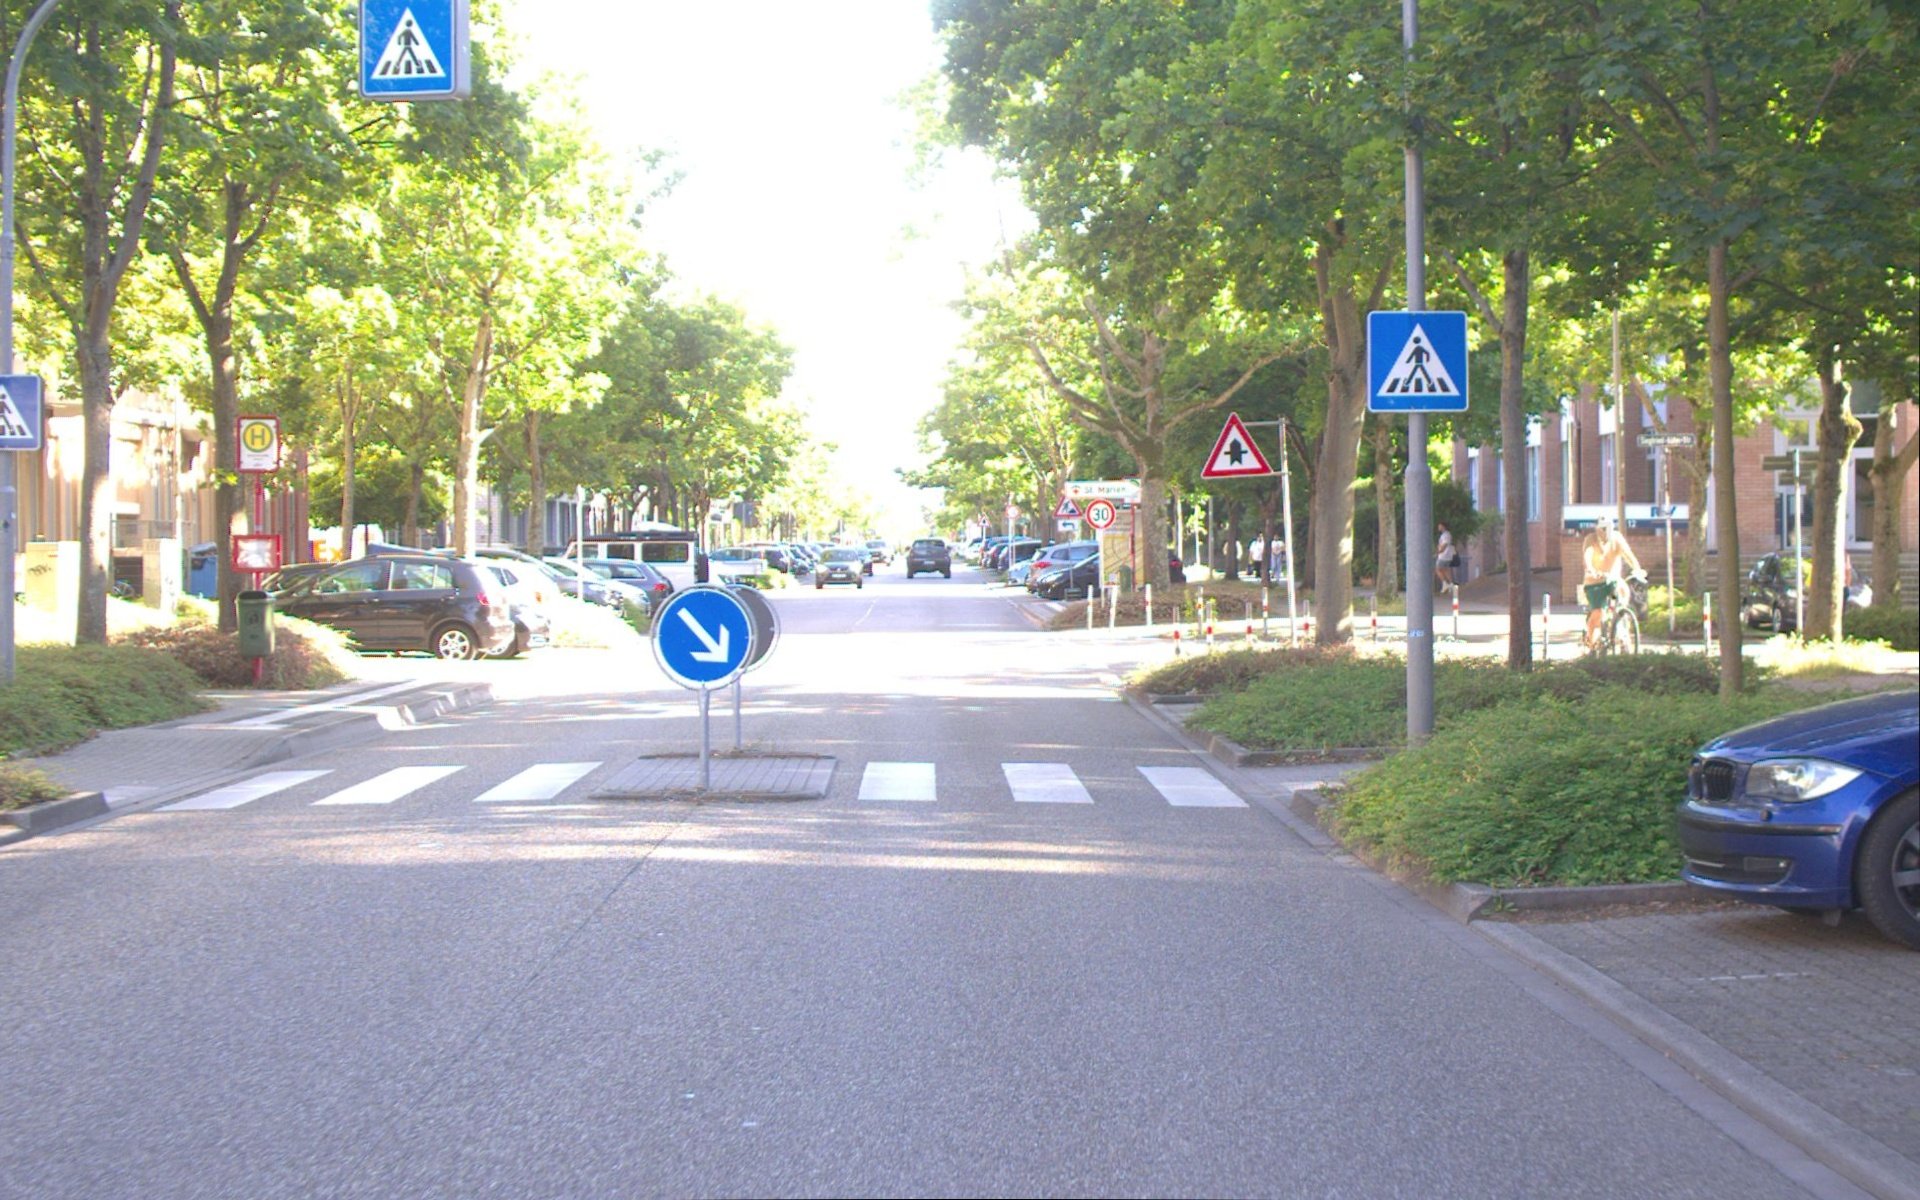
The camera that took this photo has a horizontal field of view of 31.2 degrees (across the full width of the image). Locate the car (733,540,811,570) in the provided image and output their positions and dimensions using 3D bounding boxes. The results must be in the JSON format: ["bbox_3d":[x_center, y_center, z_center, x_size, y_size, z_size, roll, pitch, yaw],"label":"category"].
[{"bbox_3d":[-9.517,-2.290,174.623,3.892,1.459,1.858,0,1,-1],"label":"car"}]

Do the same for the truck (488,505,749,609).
[{"bbox_3d":[-8.440,-1.073,85.439,6.232,2.413,2.187,-1,1,0],"label":"truck"}]

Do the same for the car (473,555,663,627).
[{"bbox_3d":[-8.494,-0.205,74.644,3.835,1.456,1.732,1,1,3],"label":"car"}]

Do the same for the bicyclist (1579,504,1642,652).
[{"bbox_3d":[7.236,-0.252,38.264,0.537,1.631,0.822,0,1,0],"label":"bicyclist"}]

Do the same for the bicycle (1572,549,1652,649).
[{"bbox_3d":[7.237,-0.027,38.216,0.534,1.074,1.920,0,1,0],"label":"bicycle"}]

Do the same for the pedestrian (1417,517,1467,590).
[{"bbox_3d":[11.670,-1.129,83.241,0.917,1.705,0.698,-4,2,-14],"label":"pedestrian"}]

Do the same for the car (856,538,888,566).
[{"bbox_3d":[-5.579,-3.032,217.099,1.891,1.678,4.353,-1,1,-3],"label":"car"}]

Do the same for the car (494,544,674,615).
[{"bbox_3d":[-8.387,-0.461,76.885,3.778,1.487,1.833,1,1,1],"label":"car"}]

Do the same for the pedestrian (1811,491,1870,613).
[{"bbox_3d":[11.477,-0.629,44.820,0.537,1.577,0.648,0,1,-10],"label":"pedestrian"}]

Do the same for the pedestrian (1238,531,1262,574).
[{"bbox_3d":[9.824,-1.613,116.338,0.700,1.453,0.715,-1,1,-3],"label":"pedestrian"}]

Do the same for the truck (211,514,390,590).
[{"bbox_3d":[-24.234,-1.762,126.480,6.103,2.695,2.578,-1,1,-2],"label":"truck"}]

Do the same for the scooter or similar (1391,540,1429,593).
[{"bbox_3d":[11.600,-0.865,88.604,0.549,1.321,1.806,1,1,-6],"label":"scooter or similar"}]

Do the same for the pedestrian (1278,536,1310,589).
[{"bbox_3d":[10.891,-1.226,112.103,0.695,1.705,0.921,-4,2,-11],"label":"pedestrian"}]

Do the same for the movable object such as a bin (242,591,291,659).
[{"bbox_3d":[-7.589,0.267,37.629,0.441,0.728,0.408,1,0,0],"label":"movable object such as a bin"}]

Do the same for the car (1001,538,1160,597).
[{"bbox_3d":[3.470,-0.947,99.603,4.351,1.592,1.940,-1,1,-7],"label":"car"}]

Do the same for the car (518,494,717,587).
[{"bbox_3d":[-7.960,-1.378,80.242,4.481,2.045,2.000,1,0,-2],"label":"car"}]

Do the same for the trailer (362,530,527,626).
[{"bbox_3d":[-9.394,-0.413,62.752,2.725,1.681,1.712,1,1,0],"label":"trailer"}]

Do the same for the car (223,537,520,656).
[{"bbox_3d":[-8.503,-0.067,49.926,3.987,1.565,1.728,2,1,-1],"label":"car"}]

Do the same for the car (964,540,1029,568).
[{"bbox_3d":[2.329,-2.947,220.289,3.986,1.786,2.000,0,1,-5],"label":"car"}]

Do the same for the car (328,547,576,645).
[{"bbox_3d":[-8.208,-0.083,55.802,3.754,1.447,1.754,2,1,-1],"label":"car"}]

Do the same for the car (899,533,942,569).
[{"bbox_3d":[-1.842,-2.278,158.607,1.933,1.592,4.366,-1,1,-1],"label":"car"}]

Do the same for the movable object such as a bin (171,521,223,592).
[{"bbox_3d":[-17.612,-1.019,79.333,1.144,1.614,1.442,-1,1,-13],"label":"movable object such as a bin"}]

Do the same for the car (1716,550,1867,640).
[{"bbox_3d":[14.466,-0.115,59.991,1.652,1.457,3.918,0,2,-1],"label":"car"}]

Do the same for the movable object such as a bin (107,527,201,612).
[{"bbox_3d":[-17.437,-0.668,74.392,1.599,1.790,1.664,0,1,1],"label":"movable object such as a bin"}]

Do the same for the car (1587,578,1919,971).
[{"bbox_3d":[4.720,0.574,13.499,4.115,1.366,1.655,-2,1,-4],"label":"car"}]

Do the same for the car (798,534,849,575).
[{"bbox_3d":[-5.074,-1.703,128.191,1.779,1.506,4.000,0,1,-1],"label":"car"}]

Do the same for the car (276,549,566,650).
[{"bbox_3d":[-8.218,-0.019,52.687,4.151,1.398,1.801,2,1,-1],"label":"car"}]
